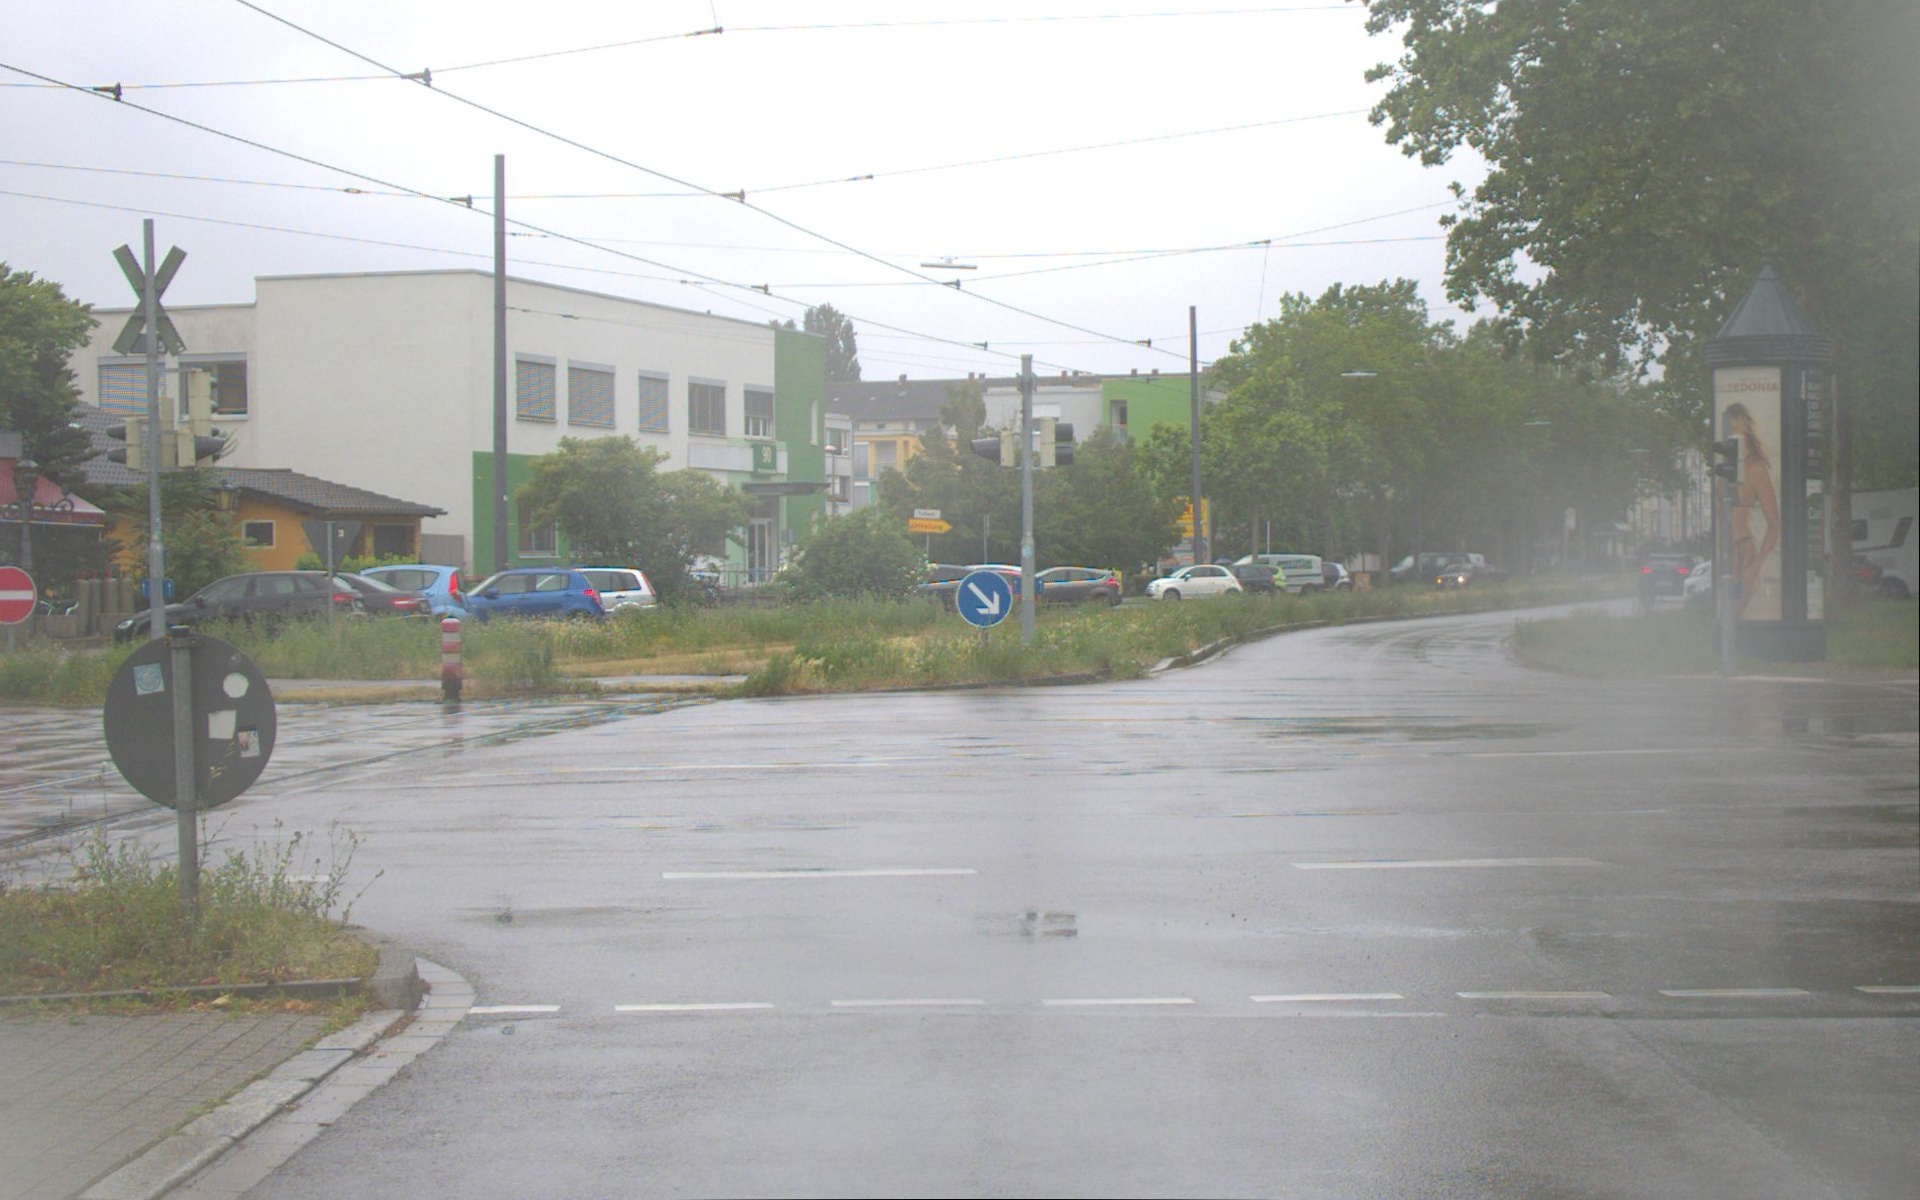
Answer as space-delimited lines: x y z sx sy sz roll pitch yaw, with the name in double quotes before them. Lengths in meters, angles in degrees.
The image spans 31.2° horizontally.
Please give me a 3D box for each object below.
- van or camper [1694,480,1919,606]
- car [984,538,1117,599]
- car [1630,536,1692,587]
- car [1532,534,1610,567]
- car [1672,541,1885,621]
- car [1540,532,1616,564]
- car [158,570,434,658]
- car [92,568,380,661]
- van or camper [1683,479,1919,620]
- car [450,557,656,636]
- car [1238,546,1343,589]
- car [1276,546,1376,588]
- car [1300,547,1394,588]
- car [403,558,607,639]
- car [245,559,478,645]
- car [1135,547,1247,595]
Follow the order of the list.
"van or camper" 23.185 -1.472 89.606 7.434 3.167 3.259 1 1 22
"car" 2.897 -1.006 110.115 3.986 1.881 2.000 1 0 -7
"car" 24.269 -1.323 118.913 1.807 1.680 3.908 1 1 16
"car" 35.306 -2.852 198.683 3.986 1.826 2.000 1 0 -5
"car" 18.477 -0.438 77.589 4.449 1.711 1.998 1 1 21
"car" 36.553 -3.082 203.415 3.986 1.826 2.000 1 0 -5
"car" -11.822 0.234 61.392 4.497 1.413 1.858 -2 0 1
"car" -12.387 0.235 58.984 4.477 1.413 1.858 -2 0 1
"van or camper" 20.846 -1.173 80.526 7.328 3.167 3.259 1 0 18
"car" -8.646 -0.086 72.908 4.107 1.635 1.930 -1 0 -14
"car" 13.931 -1.375 144.880 3.986 1.752 2.011 1 0 -11
"car" 16.368 -1.466 153.844 3.986 1.826 2.001 1 0 -11
"car" 17.888 -1.495 158.914 3.986 1.826 2.000 1 0 -5
"car" -9.259 -0.041 69.794 3.986 1.576 1.930 0 0 -11
"car" -11.252 0.034 64.780 3.987 1.576 1.858 0 0 4
"car" 8.504 -1.070 126.765 3.773 1.697 1.837 1 0 -10
